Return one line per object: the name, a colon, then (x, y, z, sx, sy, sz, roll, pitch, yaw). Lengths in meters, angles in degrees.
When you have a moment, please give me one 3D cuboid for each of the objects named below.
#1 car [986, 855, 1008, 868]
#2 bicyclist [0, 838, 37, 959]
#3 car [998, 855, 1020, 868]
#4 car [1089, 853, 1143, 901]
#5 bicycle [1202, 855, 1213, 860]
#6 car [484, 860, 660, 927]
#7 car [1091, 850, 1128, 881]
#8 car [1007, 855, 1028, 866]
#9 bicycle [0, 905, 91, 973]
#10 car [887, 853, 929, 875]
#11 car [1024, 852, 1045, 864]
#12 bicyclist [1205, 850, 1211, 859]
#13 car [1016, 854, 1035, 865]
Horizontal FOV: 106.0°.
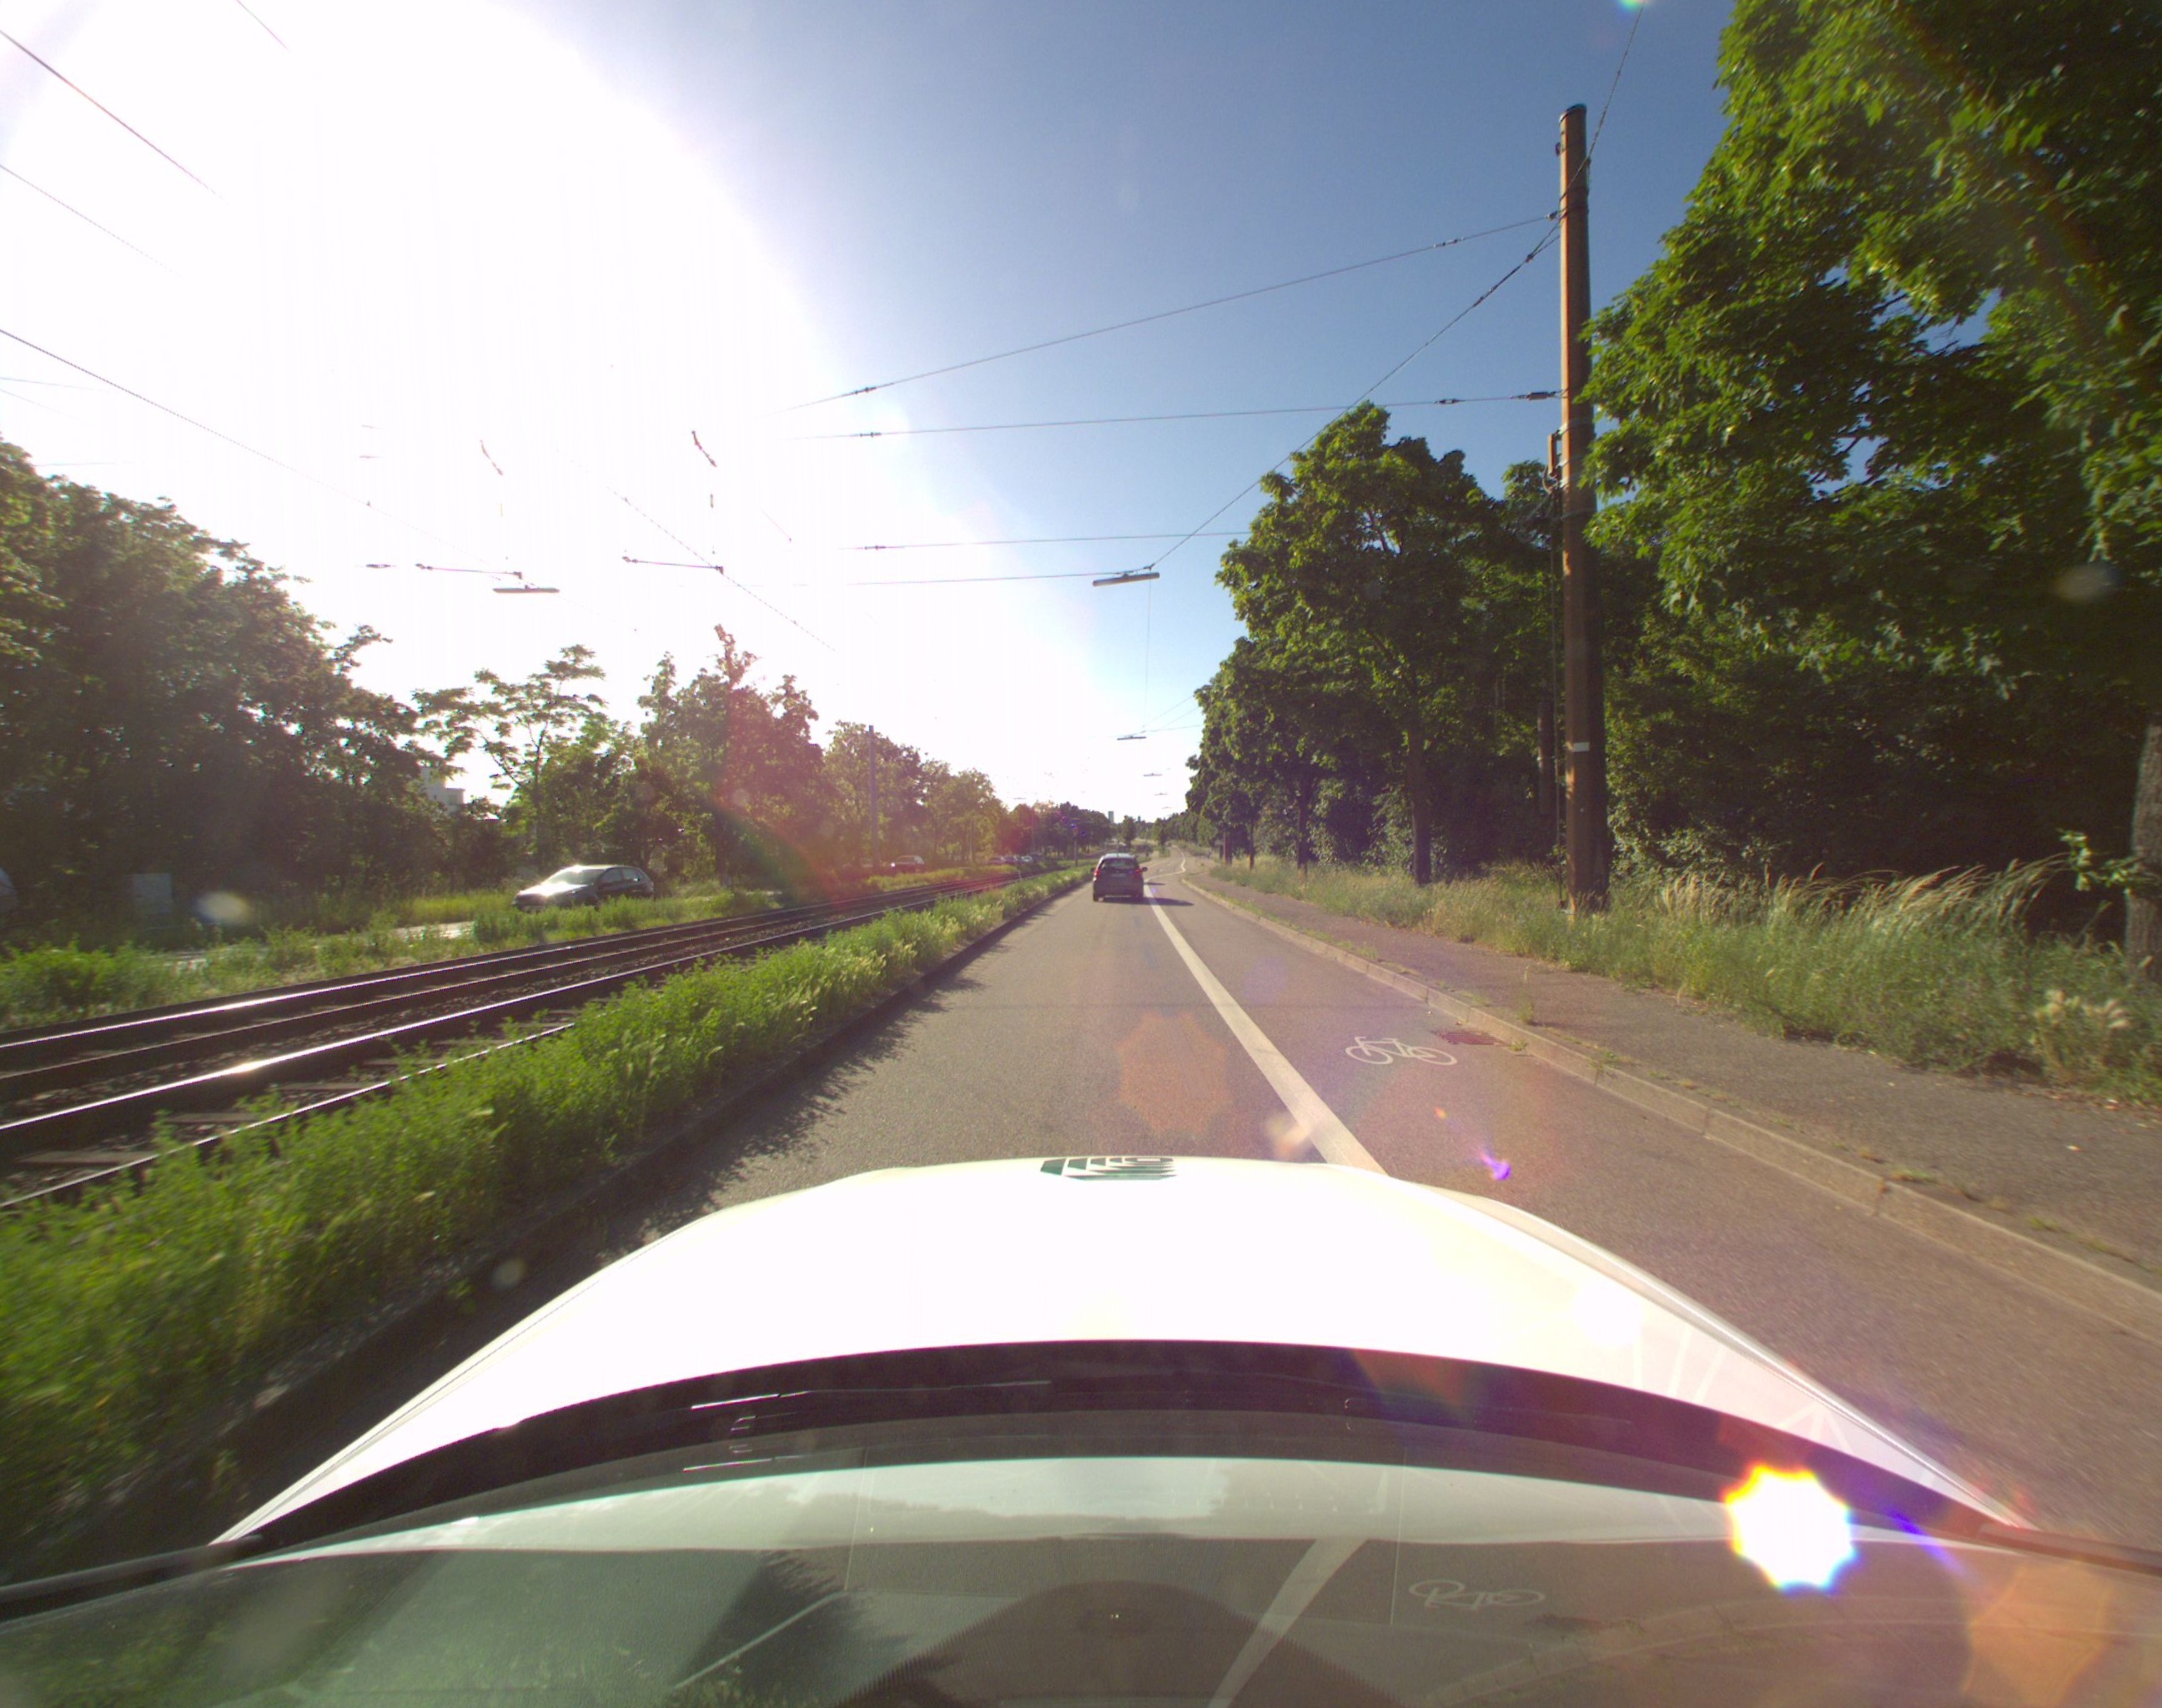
car: (-10.281, 0.909, 99.857, 1.726, 1.494, 4.335, 1, 0, 6)
bicyclist: (-15.899, 0.644, 11.628, 0.816, 1.736, 0.903, 0, 0, 2)
car: (-9.419, 0.963, 106.634, 1.983, 1.574, 4.443, -1, 0, 6)
car: (1.229, 0.727, 28.026, 1.700, 1.509, 4.003, 0, 0, 3)
bicycle: (24.103, 0.690, 155.674, 1.904, 0.998, 0.768, -3, -1, 18)
car: (-12.465, 0.901, 20.273, 1.703, 1.479, 4.003, 0, 0, 3)
car: (1.607, 0.585, 44.636, 1.842, 1.606, 4.259, -1, 0, 4)
car: (-8.733, 0.897, 112.687, 1.982, 1.437, 4.424, -1, 0, 8)
bicycle: (-15.919, 1.260, 11.458, 0.815, 0.914, 2.539, 0, 0, 2)
car: (-13.970, 0.807, 66.055, 1.994, 1.702, 4.474, -1, 0, 6)
car: (-7.131, 0.599, 124.851, 2.183, 1.891, 4.804, -1, 0, 10)
bicyclist: (24.278, 0.095, 155.616, 0.903, 1.745, 0.768, -2, -1, 18)
car: (-8.054, 0.768, 118.532, 1.917, 1.437, 4.705, -1, 0, 8)
